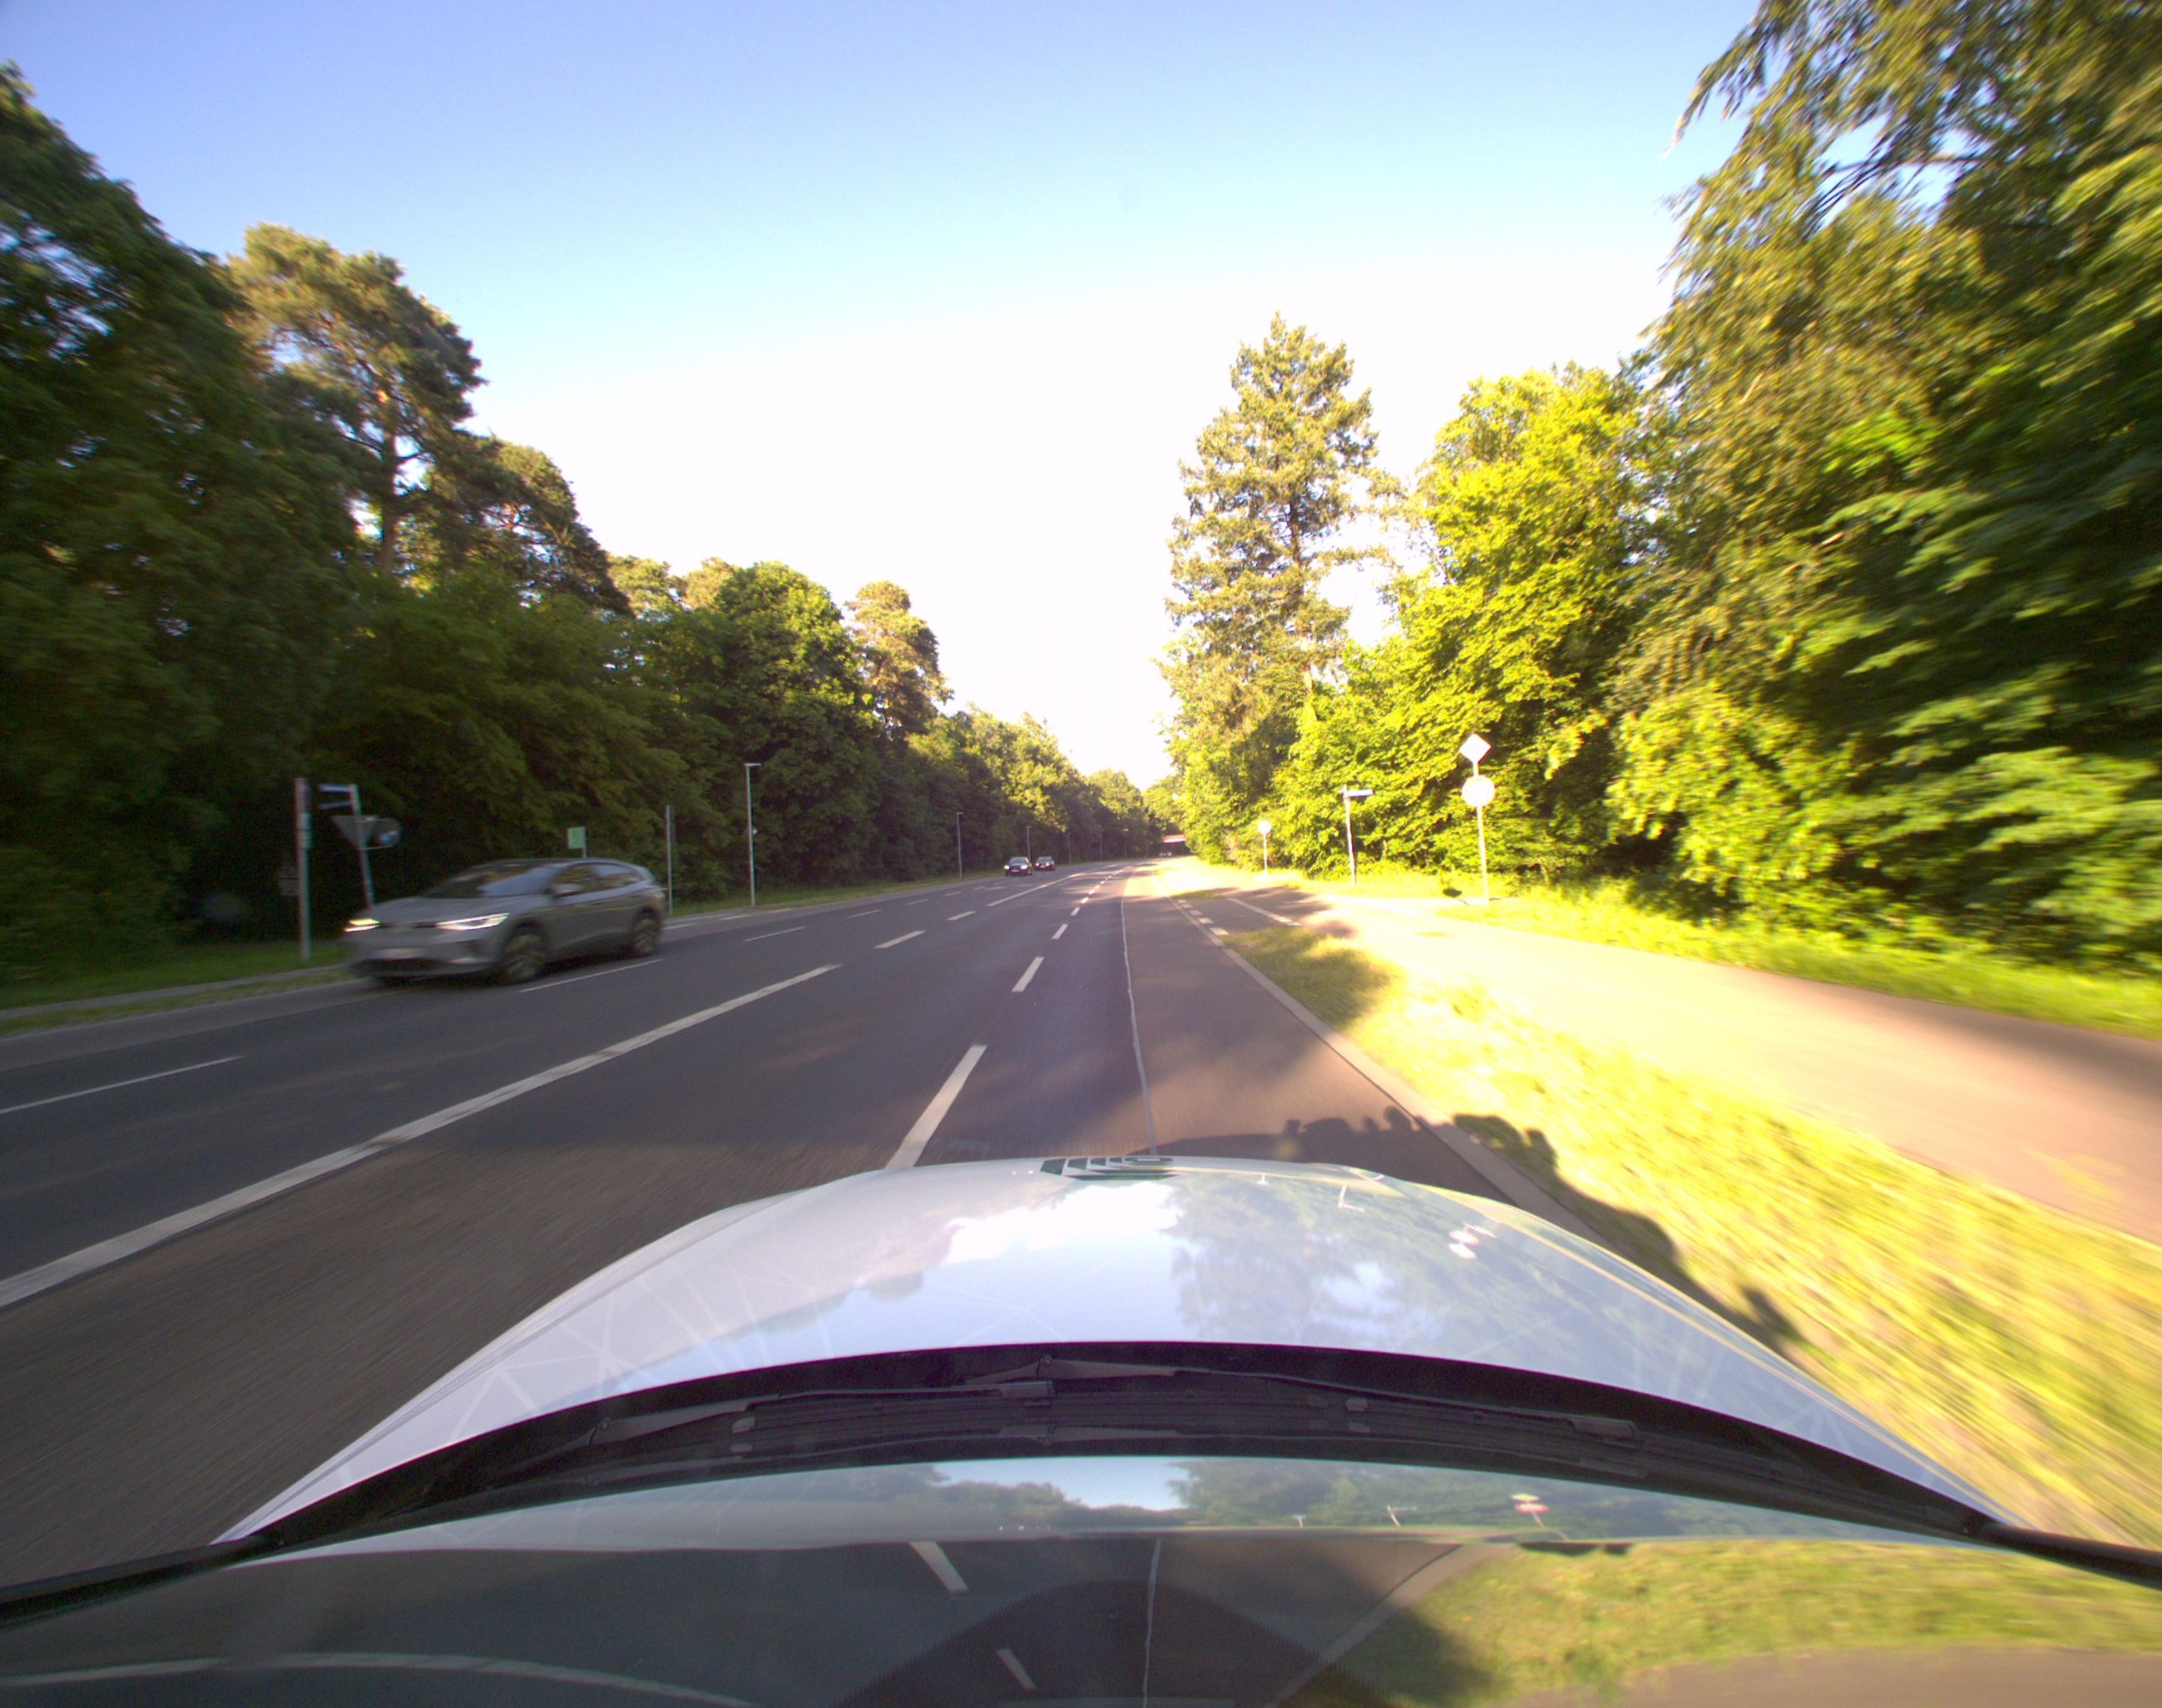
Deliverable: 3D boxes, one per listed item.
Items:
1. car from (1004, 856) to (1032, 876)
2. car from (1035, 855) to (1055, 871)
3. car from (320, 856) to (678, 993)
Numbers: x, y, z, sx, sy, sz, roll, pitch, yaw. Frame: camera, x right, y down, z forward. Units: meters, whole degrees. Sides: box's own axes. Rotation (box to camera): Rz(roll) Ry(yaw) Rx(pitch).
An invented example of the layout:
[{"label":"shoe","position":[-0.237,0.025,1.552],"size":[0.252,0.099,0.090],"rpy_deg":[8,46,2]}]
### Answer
[{"label":"car","position":[-4.899,0.920,63.830],"size":[1.732,1.457,4.000],"rpy_deg":[0,0,1]},{"label":"car","position":[-3.623,0.859,81.839],"size":[1.651,1.480,4.174],"rpy_deg":[-1,0,1]},{"label":"car","position":[-7.950,0.833,11.802],"size":[1.889,1.610,4.450],"rpy_deg":[0,0,1]}]
